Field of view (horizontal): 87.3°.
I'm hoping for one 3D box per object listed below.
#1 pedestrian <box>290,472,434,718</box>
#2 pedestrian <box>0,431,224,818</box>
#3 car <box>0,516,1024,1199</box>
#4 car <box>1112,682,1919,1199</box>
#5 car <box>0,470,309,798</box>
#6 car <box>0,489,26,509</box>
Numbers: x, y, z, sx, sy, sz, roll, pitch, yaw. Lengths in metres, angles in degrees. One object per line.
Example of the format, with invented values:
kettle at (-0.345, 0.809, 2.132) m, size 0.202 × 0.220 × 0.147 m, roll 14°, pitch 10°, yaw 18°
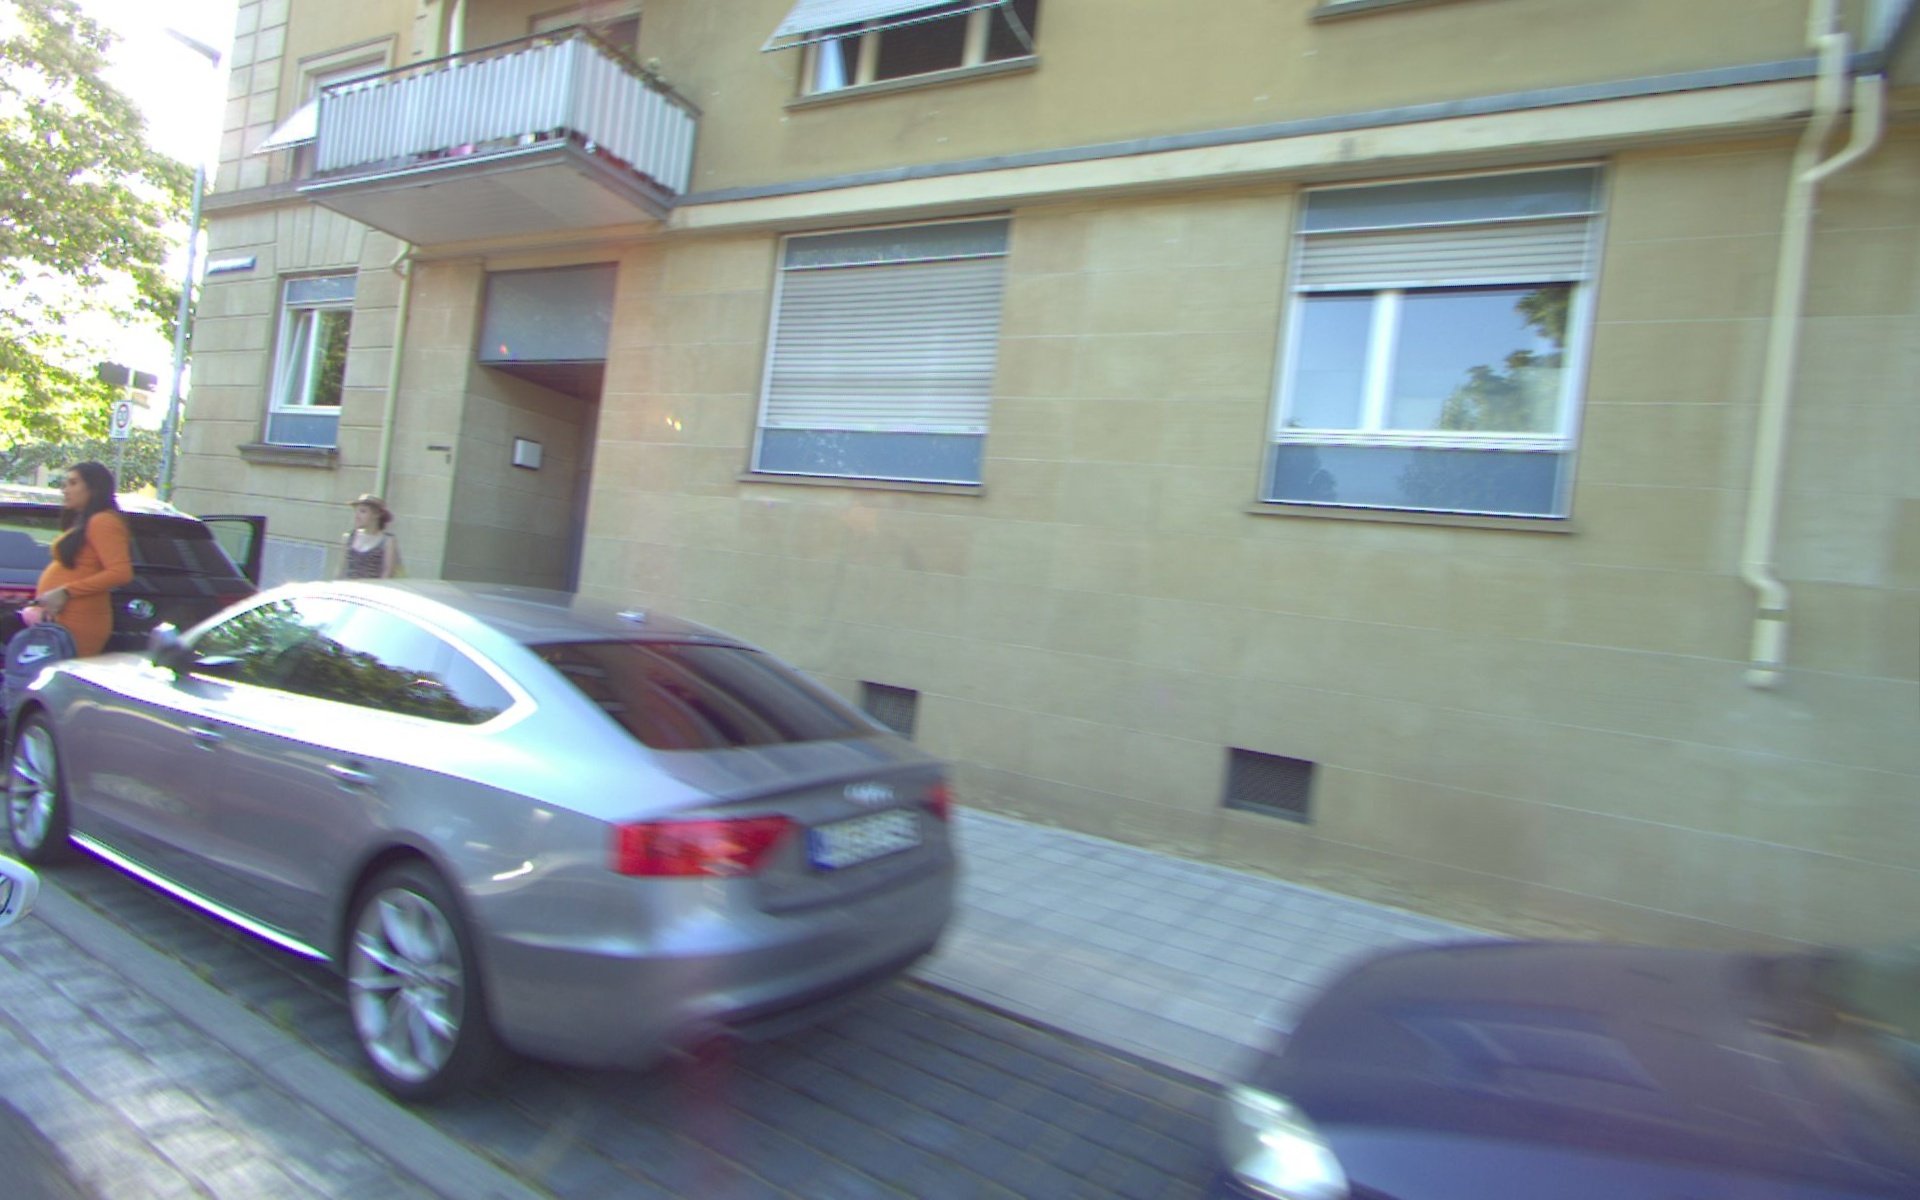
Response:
pedestrian at (-4.852, -0.030, 8.206) m, size 0.547 × 1.852 × 0.731 m, roll 8°, pitch -1°, yaw -7°
pedestrian at (-4.610, 0.117, 5.141) m, size 0.765 × 1.790 × 0.955 m, roll 7°, pitch -1°, yaw 28°
car at (-2.081, 0.583, 4.049) m, size 4.276 × 1.438 × 1.704 m, roll 6°, pitch 1°, yaw 32°
car at (2.404, 1.135, 1.530) m, size 3.967 × 1.438 × 1.705 m, roll 6°, pitch 1°, yaw 29°
car at (-6.476, -0.024, 6.704) m, size 4.273 × 1.647 × 1.705 m, roll 8°, pitch 2°, yaw 29°
car at (-100.485, -10.682, 104.549) m, size 4.471 × 1.767 × 1.868 m, roll 7°, pitch -1°, yaw -27°
